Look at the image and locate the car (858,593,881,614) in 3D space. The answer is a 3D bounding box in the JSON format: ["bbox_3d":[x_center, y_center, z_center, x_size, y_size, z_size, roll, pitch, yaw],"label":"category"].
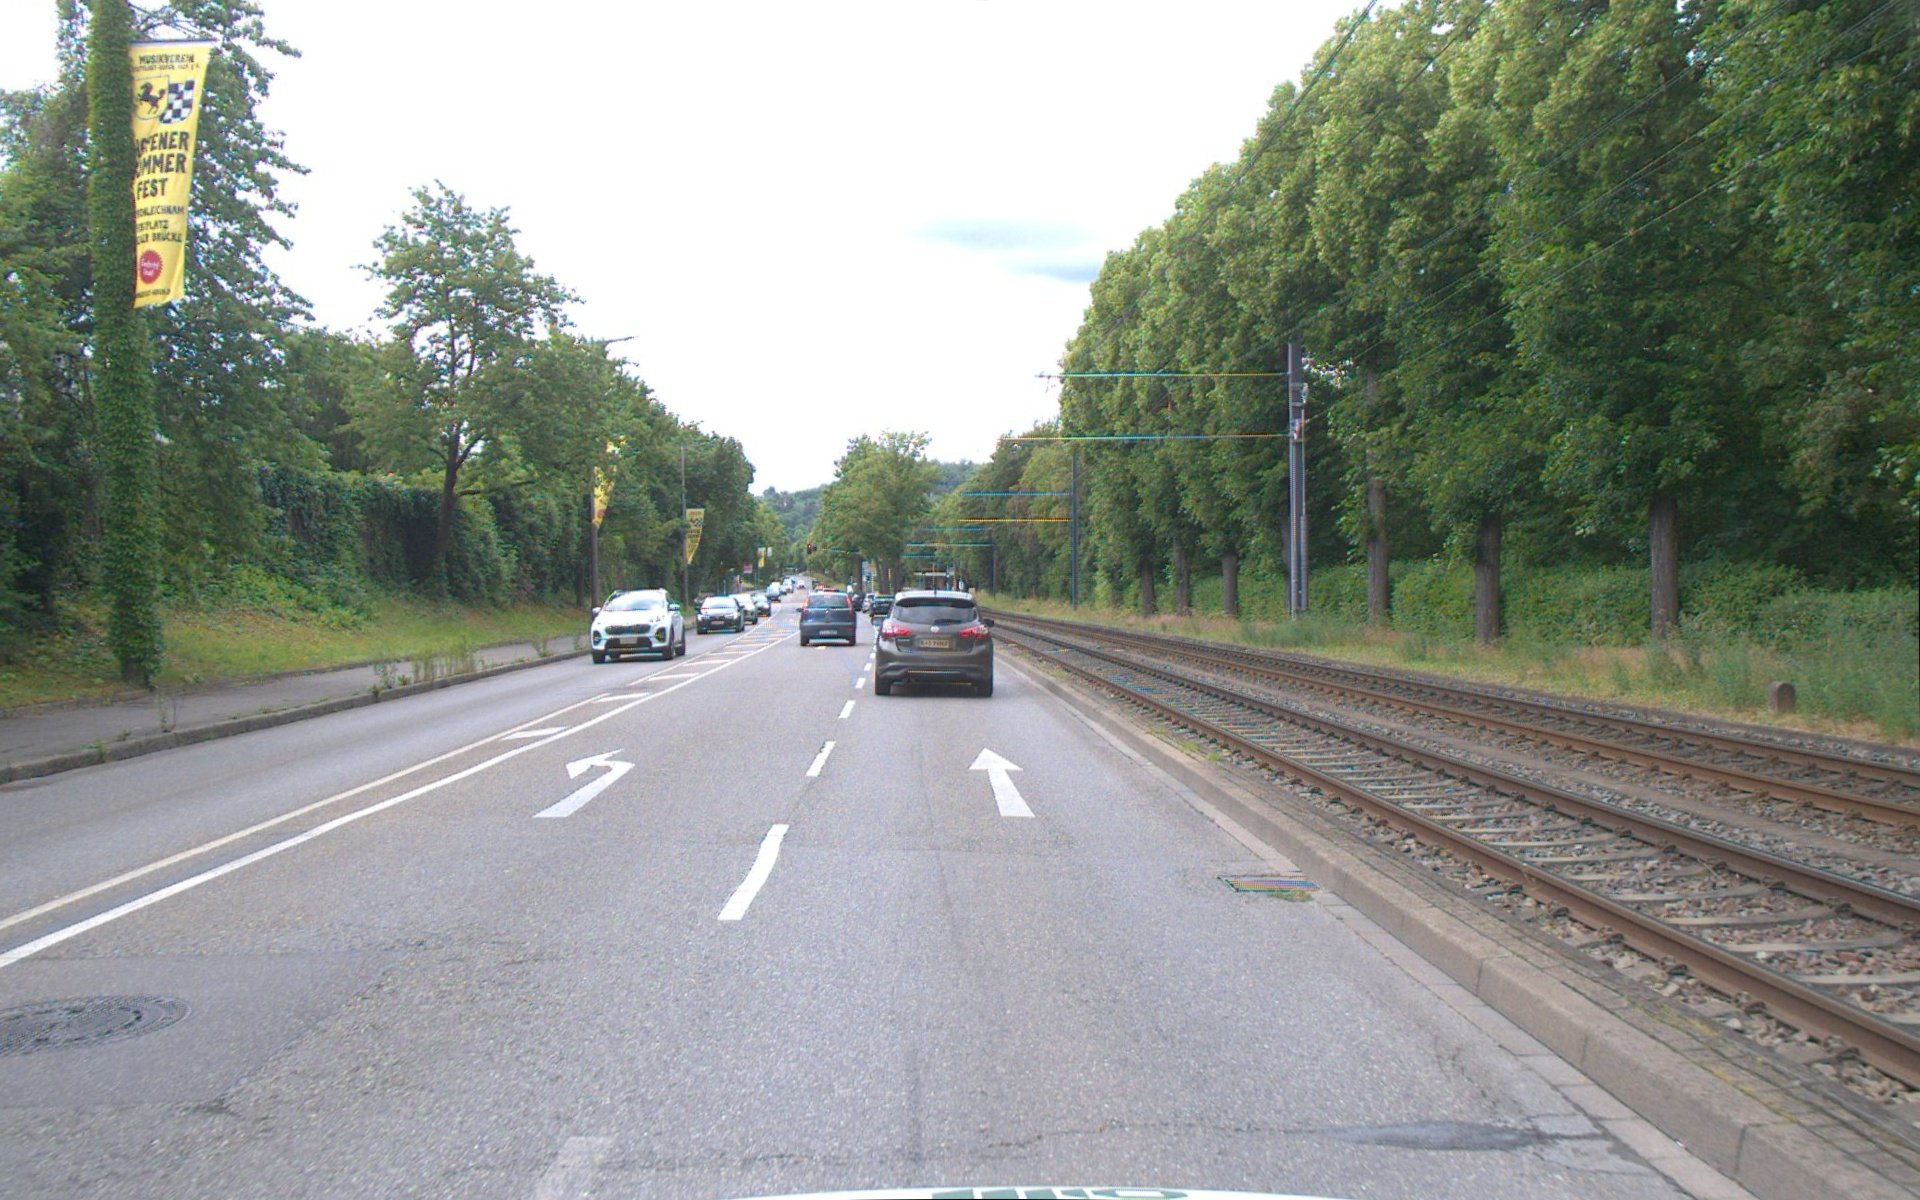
[{"bbox_3d":[-6.901,0.267,125.706,1.681,1.577,3.998,0,0,-2],"label":"car"}]

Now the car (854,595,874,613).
[{"bbox_3d":[-8.534,0.349,147.643,1.681,1.577,3.998,0,0,-2],"label":"car"}]

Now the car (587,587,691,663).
[{"bbox_3d":[-7.558,0.568,39.279,1.805,1.648,4.157,-2,0,-3],"label":"car"}]

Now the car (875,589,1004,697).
[{"bbox_3d":[-0.332,0.601,25.444,1.813,1.519,3.999,1,0,-1],"label":"car"}]

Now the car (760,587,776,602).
[{"bbox_3d":[-23.392,-0.673,201.615,1.681,1.791,3.996,0,0,-4],"label":"car"}]

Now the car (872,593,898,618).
[{"bbox_3d":[-4.811,0.361,106.239,1.681,1.577,3.998,0,0,-2],"label":"car"}]

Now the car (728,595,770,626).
[{"bbox_3d":[-10.686,0.513,83.875,1.791,1.482,4.139,-3,0,-4],"label":"car"}]

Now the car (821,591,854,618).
[{"bbox_3d":[-6.881,0.238,93.037,1.681,1.460,3.998,0,0,-2],"label":"car"}]

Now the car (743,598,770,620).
[{"bbox_3d":[-14.180,0.590,115.379,1.806,1.400,4.442,-2,0,-6],"label":"car"}]

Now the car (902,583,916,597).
[{"bbox_3d":[-6.647,-1.304,215.914,1.681,1.692,3.704,0,0,-4],"label":"car"}]

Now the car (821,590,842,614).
[{"bbox_3d":[-10.287,0.173,132.421,1.682,1.896,3.996,0,0,-5],"label":"car"}]

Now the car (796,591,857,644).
[{"bbox_3d":[-3.837,0.474,47.810,1.666,1.469,3.997,0,0,-4],"label":"car"}]

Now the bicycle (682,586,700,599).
[{"bbox_3d":[-22.808,-0.646,140.320,0.489,1.127,1.798,0,0,28],"label":"bicycle"}]

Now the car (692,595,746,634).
[{"bbox_3d":[-9.636,0.561,66.429,1.731,1.425,4.212,-3,0,-4],"label":"car"}]
